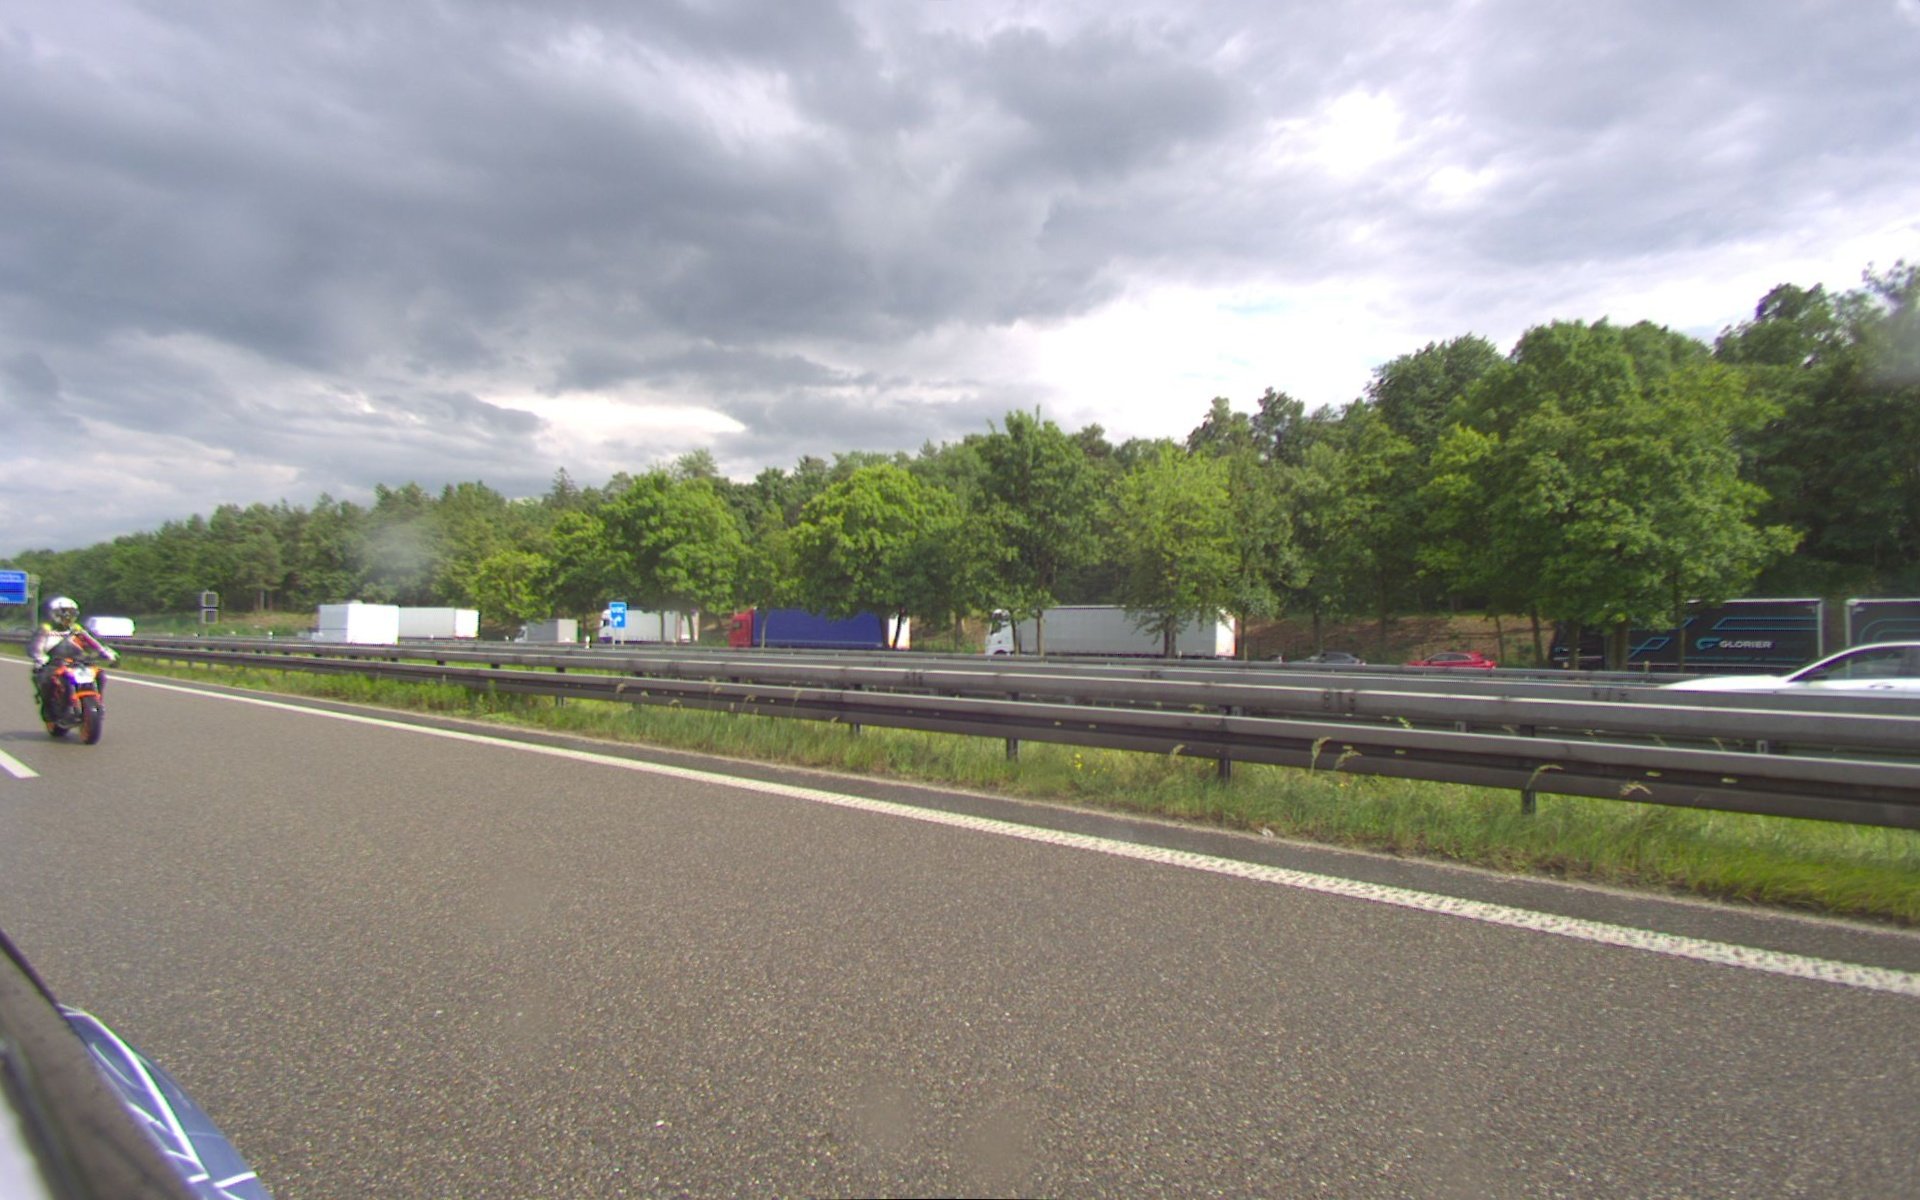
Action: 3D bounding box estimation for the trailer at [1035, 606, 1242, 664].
[{"bbox_3d":[10.644,2.088,61.872,12.459,3.241,3.315,-1,-2,39],"label":"trailer"}]

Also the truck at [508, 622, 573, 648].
[{"bbox_3d":[-39.172,3.239,94.463,6.288,2.282,2.105,-1,-1,28],"label":"truck"}]

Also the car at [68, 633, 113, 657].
[{"bbox_3d":[-76.443,3.956,88.960,4.776,1.905,2.277,-1,0,41],"label":"car"}]

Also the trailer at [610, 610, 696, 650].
[{"bbox_3d":[-26.403,2.552,86.876,7.713,3.257,2.560,-1,-2,31],"label":"trailer"}]

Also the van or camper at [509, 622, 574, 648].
[{"bbox_3d":[-39.071,3.237,94.404,6.293,2.282,2.105,-1,-1,28],"label":"van or camper"}]

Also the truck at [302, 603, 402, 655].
[{"bbox_3d":[-34.409,1.572,57.206,7.188,2.702,2.813,-1,0,41],"label":"truck"}]

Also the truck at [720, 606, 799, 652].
[{"bbox_3d":[-15.933,2.260,80.437,5.880,3.482,2.837,-1,0,34],"label":"truck"}]

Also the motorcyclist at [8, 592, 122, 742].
[{"bbox_3d":[-10.821,0.772,12.234,0.999,1.719,0.872,-1,0,38],"label":"motorcyclist"}]

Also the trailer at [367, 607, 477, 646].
[{"bbox_3d":[-54.123,2.648,101.744,12.506,3.767,3.185,-1,-2,27],"label":"trailer"}]

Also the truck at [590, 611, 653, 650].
[{"bbox_3d":[-29.697,2.607,88.764,5.067,3.292,2.635,-1,0,30],"label":"truck"}]

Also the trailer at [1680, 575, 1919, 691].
[{"bbox_3d":[37.450,1.302,40.410,13.797,4.439,3.748,-1,-2,42],"label":"trailer"}]

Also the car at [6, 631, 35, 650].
[{"bbox_3d":[-103.828,4.442,111.816,4.776,1.905,1.811,-1,0,41],"label":"car"}]

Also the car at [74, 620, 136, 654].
[{"bbox_3d":[-51.575,2.185,61.011,5.256,1.905,2.025,-1,0,41],"label":"car"}]

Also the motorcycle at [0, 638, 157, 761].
[{"bbox_3d":[-10.927,1.113,12.242,3.190,1.235,1.173,-1,0,38],"label":"motorcycle"}]

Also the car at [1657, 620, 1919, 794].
[{"bbox_3d":[11.535,1.215,11.967,5.256,1.905,2.025,-1,0,41],"label":"car"}]

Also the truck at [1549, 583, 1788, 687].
[{"bbox_3d":[31.683,1.452,45.496,8.414,4.266,3.748,-1,0,41],"label":"truck"}]

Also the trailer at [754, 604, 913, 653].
[{"bbox_3d":[-9.729,2.133,76.237,13.389,3.431,2.800,-1,-2,34],"label":"trailer"}]

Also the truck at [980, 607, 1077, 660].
[{"bbox_3d":[4.509,2.164,66.770,5.498,3.298,3.322,-1,0,37],"label":"truck"}]

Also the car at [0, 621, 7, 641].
[{"bbox_3d":[-93.762,2.978,97.544,4.776,1.905,2.277,-1,0,41],"label":"car"}]

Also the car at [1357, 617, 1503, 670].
[{"bbox_3d":[23.934,2.130,51.700,6.208,2.501,2.763,-1,0,41],"label":"car"}]
